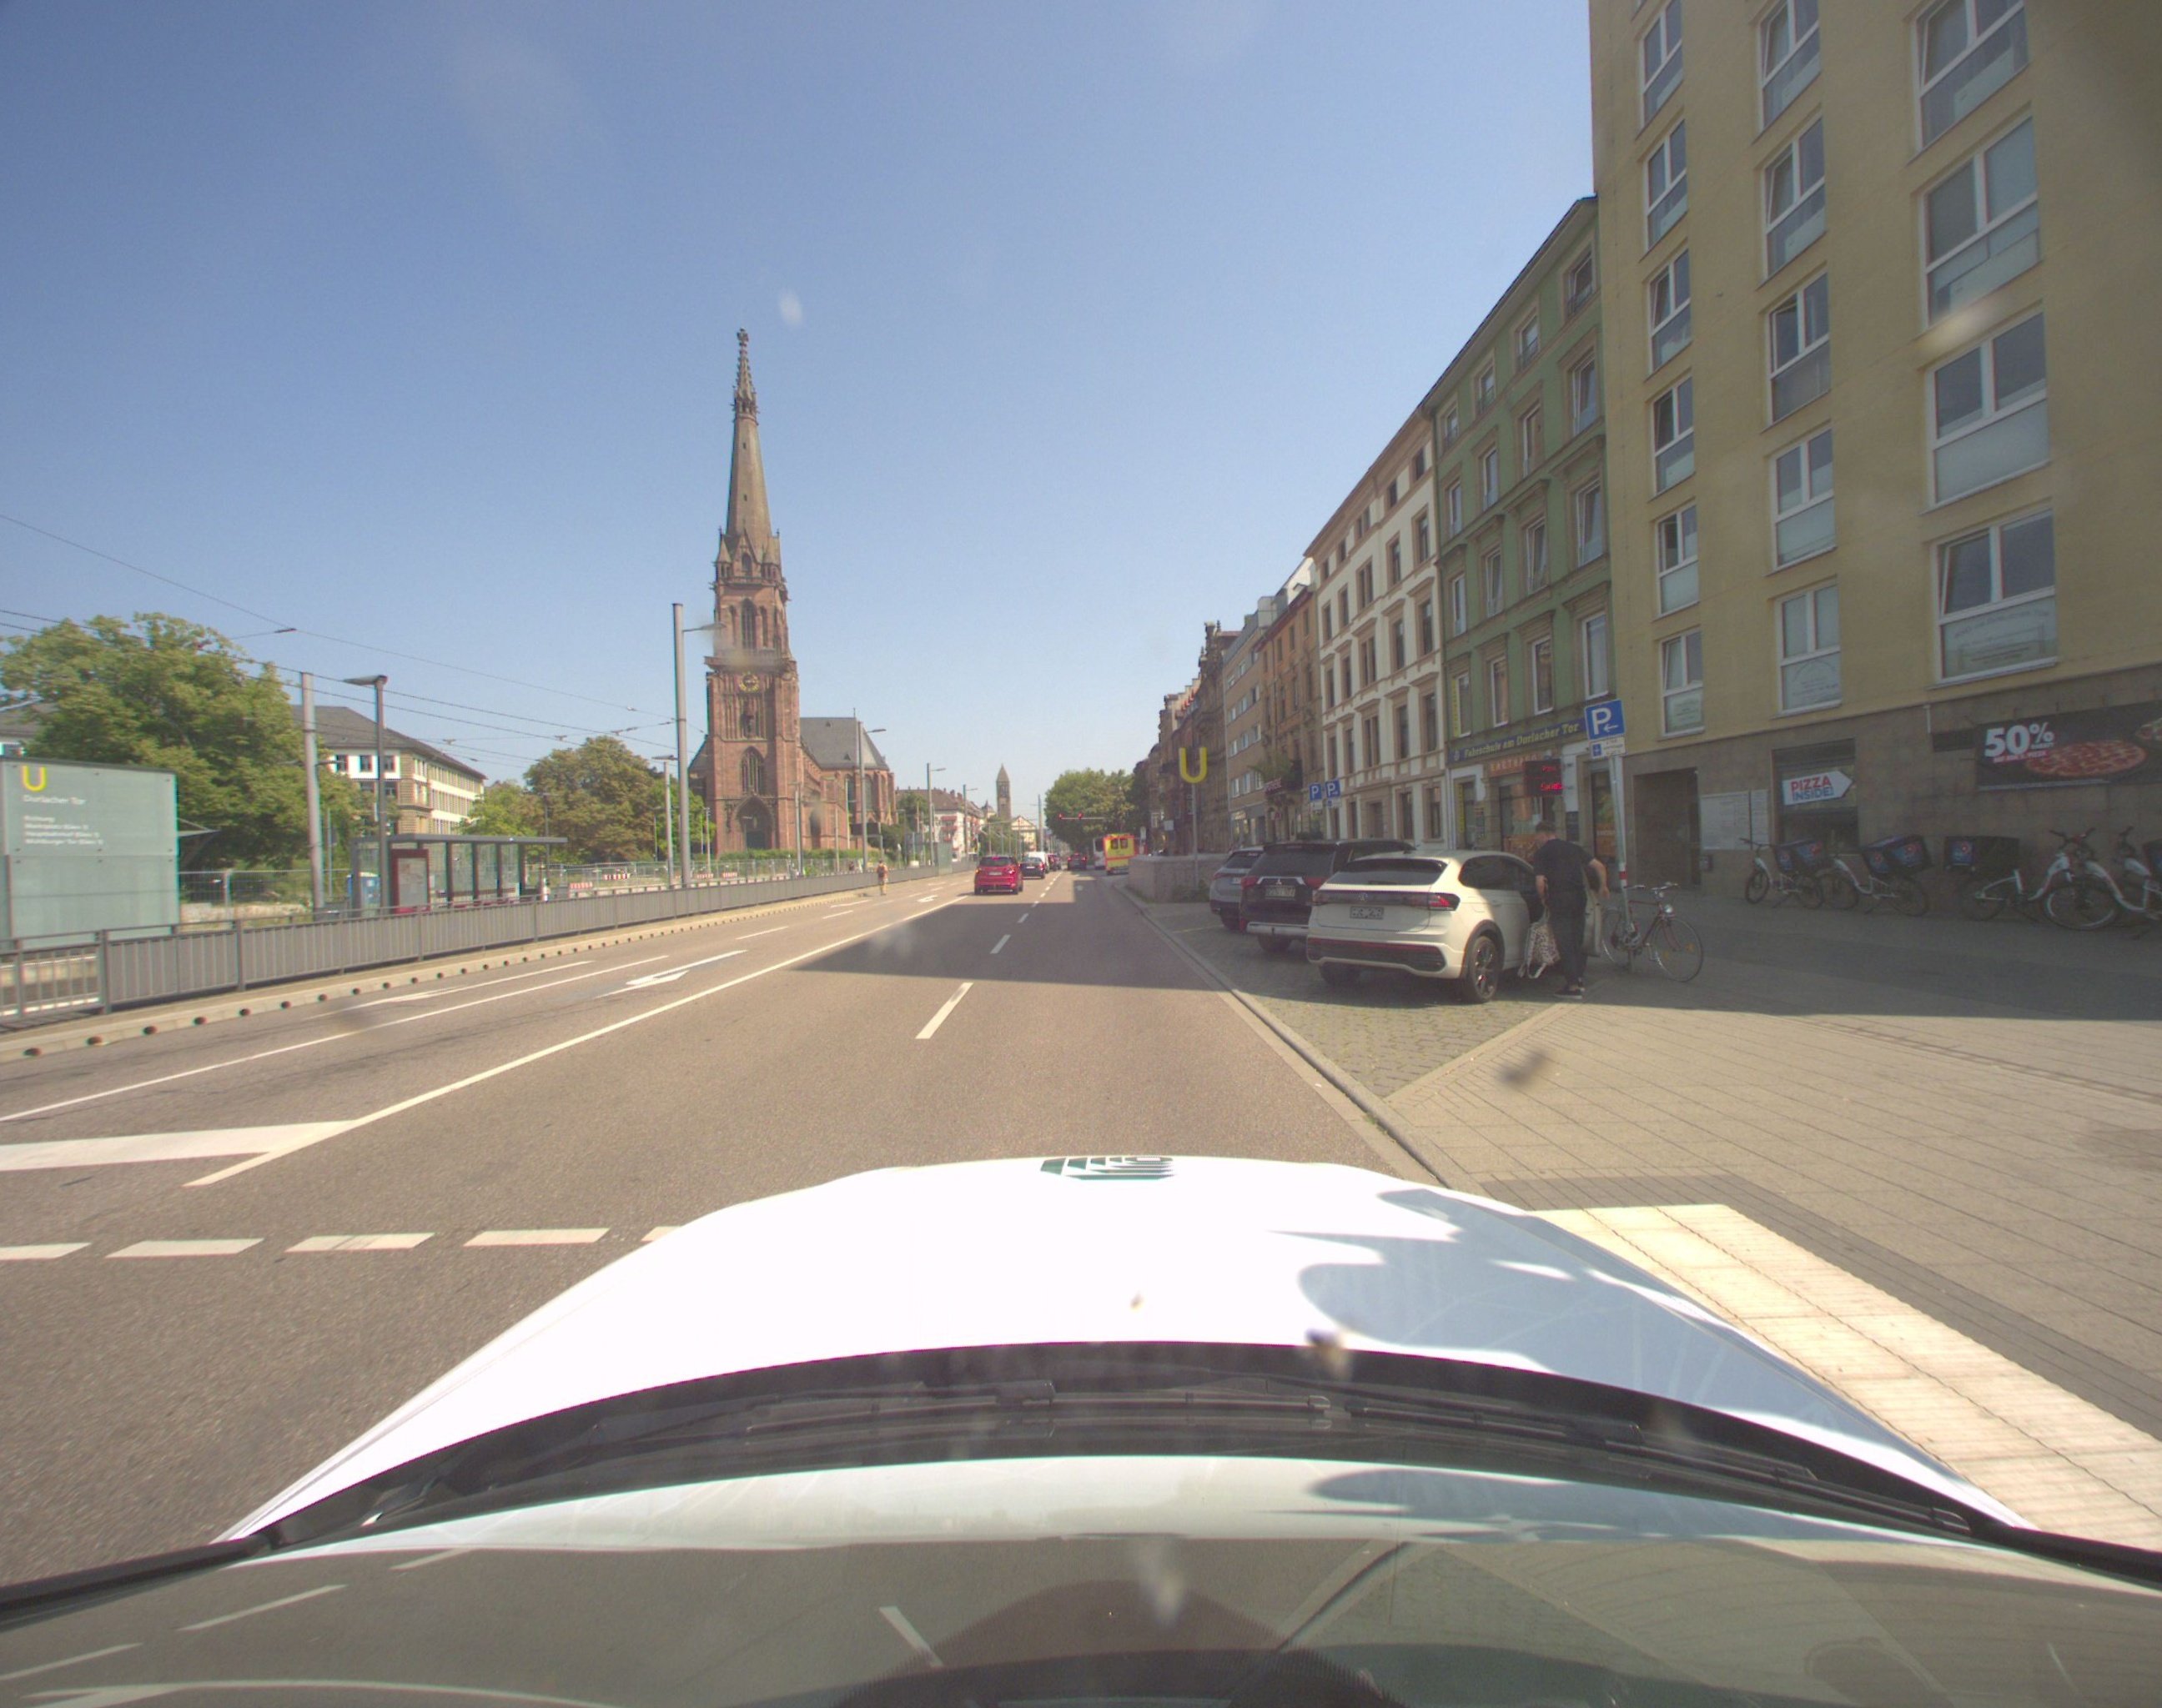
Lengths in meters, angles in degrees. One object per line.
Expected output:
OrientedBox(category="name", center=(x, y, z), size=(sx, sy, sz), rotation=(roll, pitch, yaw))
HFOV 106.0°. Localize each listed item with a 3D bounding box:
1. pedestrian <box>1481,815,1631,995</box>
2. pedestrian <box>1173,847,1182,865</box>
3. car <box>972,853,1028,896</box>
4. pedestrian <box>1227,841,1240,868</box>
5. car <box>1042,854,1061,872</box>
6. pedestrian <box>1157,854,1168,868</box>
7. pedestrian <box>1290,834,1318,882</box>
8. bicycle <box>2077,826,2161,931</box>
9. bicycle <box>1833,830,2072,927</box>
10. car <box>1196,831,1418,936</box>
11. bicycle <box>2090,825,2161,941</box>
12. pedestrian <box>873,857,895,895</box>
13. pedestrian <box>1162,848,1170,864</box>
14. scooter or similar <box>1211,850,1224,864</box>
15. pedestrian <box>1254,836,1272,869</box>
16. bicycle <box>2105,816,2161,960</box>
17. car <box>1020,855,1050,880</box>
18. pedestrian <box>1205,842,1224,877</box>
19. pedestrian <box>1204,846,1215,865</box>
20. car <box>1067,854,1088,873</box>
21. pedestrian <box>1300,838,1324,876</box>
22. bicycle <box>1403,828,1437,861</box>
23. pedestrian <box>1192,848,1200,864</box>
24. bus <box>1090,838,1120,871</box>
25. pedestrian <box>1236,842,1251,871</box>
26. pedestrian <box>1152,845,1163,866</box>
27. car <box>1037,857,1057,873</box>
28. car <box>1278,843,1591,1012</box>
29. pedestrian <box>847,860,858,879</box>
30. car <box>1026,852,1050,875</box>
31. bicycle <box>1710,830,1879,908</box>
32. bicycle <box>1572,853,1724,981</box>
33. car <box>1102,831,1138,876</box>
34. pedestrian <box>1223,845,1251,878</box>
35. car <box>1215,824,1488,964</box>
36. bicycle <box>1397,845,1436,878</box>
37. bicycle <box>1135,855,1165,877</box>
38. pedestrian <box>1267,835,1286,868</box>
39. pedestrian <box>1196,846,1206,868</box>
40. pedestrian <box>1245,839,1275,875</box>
OrientedBox(category="pedestrian", center=(4.861, 0.478, 8.360), size=(1.040, 1.704, 0.896), rotation=(-1, 0, -27))
OrientedBox(category="pedestrian", center=(9.075, 0.202, 76.466), size=(0.694, 1.667, 0.603), rotation=(-2, 0, 1))
OrientedBox(category="car", center=(-3.298, 0.788, 33.934), size=(1.756, 1.618, 4.083), rotation=(-2, 0, 1))
OrientedBox(category="pedestrian", center=(9.959, 0.020, 53.343), size=(0.575, 1.750, 0.679), rotation=(-5, 0, -1))
OrientedBox(category="car", center=(-3.030, 0.916, 84.022), size=(1.785, 1.698, 3.997), rotation=(-2, -1, -2))
OrientedBox(category="pedestrian", center=(10.877, 0.897, 108.682), size=(1.245, 1.751, 1.526), rotation=(-2, 2, 0))
OrientedBox(category="pedestrian", center=(8.086, 0.136, 29.613), size=(0.668, 1.685, 0.943), rotation=(-3, 0, -1))
OrientedBox(category="bicycle", center=(13.060, 0.289, 9.557), size=(0.407, 1.238, 1.825), rotation=(-2, 0, -3))
OrientedBox(category="bicycle", center=(12.561, 0.314, 11.905), size=(0.935, 1.238, 2.424), rotation=(-2, 0, 3))
OrientedBox(category="car", center=(4.589, 0.477, 16.138), size=(4.692, 1.713, 2.019), rotation=(-3, 0, -43))
OrientedBox(category="bicycle", center=(12.391, 0.305, 9.293), size=(0.584, 1.238, 1.555), rotation=(-2, 0, 32))
OrientedBox(category="pedestrian", center=(-9.493, 1.061, 39.207), size=(0.759, 1.752, 1.068), rotation=(-2, -1, -2))
OrientedBox(category="pedestrian", center=(8.722, 0.199, 83.745), size=(0.694, 1.667, 1.065), rotation=(-2, 0, 1))
OrientedBox(category="scooter or similar", center=(11.762, 0.240, 70.399), size=(0.514, 1.196, 1.295), rotation=(-2, 0, -20))
OrientedBox(category="pedestrian", center=(9.903, -0.083, 44.356), size=(0.682, 1.773, 1.017), rotation=(-2, 1, -1))
OrientedBox(category="bicycle", center=(12.184, 0.289, 9.045), size=(3.380, 1.404, 0.894), rotation=(-3, 0, -37))
OrientedBox(category="car", center=(-2.929, 0.829, 52.226), size=(1.785, 1.431, 3.997), rotation=(-2, 0, -2))
OrientedBox(category="pedestrian", center=(6.824, 0.262, 41.692), size=(0.845, 1.728, 0.973), rotation=(-3, 2, 6))
OrientedBox(category="pedestrian", center=(10.199, 0.132, 64.565), size=(0.641, 1.493, 0.789), rotation=(-2, 0, -1))
OrientedBox(category="car", center=(-0.366, 0.892, 77.740), size=(1.785, 1.677, 3.997), rotation=(-2, -1, -2))
OrientedBox(category="pedestrian", center=(11.463, 0.144, 40.452), size=(0.841, 1.846, 0.684), rotation=(-4, 0, -10))
OrientedBox(category="bicycle", center=(12.624, -0.343, 30.396), size=(0.457, 1.184, 1.847), rotation=(-2, 0, 0))
OrientedBox(category="pedestrian", center=(12.045, 0.230, 84.981), size=(0.622, 1.593, 0.694), rotation=(-2, 0, -6))
OrientedBox(category="bus", center=(2.323, 0.041, 82.159), size=(2.526, 3.032, 12.432), rotation=(-2, 0, 0))
OrientedBox(category="pedestrian", center=(10.634, 0.165, 53.310), size=(0.598, 1.795, 0.879), rotation=(-5, 0, -1))
OrientedBox(category="pedestrian", center=(6.439, 0.119, 68.559), size=(0.690, 1.667, 0.606), rotation=(-2, 0, 25))
OrientedBox(category="car", center=(-3.161, 1.032, 76.068), size=(1.785, 1.472, 3.997), rotation=(-2, -1, -2))
OrientedBox(category="car", center=(4.086, 0.635, 9.162), size=(3.805, 1.500, 1.786), rotation=(-1, 1, -41))
OrientedBox(category="pedestrian", center=(-21.854, 1.447, 77.940), size=(0.826, 1.752, 0.720), rotation=(-2, -1, 0))
OrientedBox(category="car", center=(-3.560, 0.792, 68.191), size=(1.785, 1.780, 3.997), rotation=(-2, -1, -2))
OrientedBox(category="bicycle", center=(12.615, 0.239, 14.543), size=(0.935, 1.238, 2.424), rotation=(-2, 0, 3))
OrientedBox(category="bicycle", center=(6.424, 0.667, 9.354), size=(0.471, 1.296, 1.792), rotation=(-3, -1, 2))
OrientedBox(category="car", center=(2.778, -0.037, 57.527), size=(2.289, 2.888, 5.604), rotation=(-3, 0, 3))
OrientedBox(category="pedestrian", center=(7.612, 0.357, 39.833), size=(0.856, 1.582, 0.960), rotation=(-2, -1, -34))
OrientedBox(category="car", center=(4.223, 0.468, 12.311), size=(4.417, 1.687, 1.962), rotation=(-3, 0, -42))
OrientedBox(category="bicycle", center=(12.653, 0.257, 30.788), size=(0.478, 1.146, 2.472), rotation=(-2, 2, 2))
OrientedBox(category="bicycle", center=(3.983, 0.680, 46.936), size=(1.666, 1.215, 0.645), rotation=(-2, 0, 5))
OrientedBox(category="pedestrian", center=(10.639, -0.138, 44.329), size=(0.682, 1.773, 1.017), rotation=(-2, 1, -1))
OrientedBox(category="pedestrian", center=(9.502, 0.249, 64.531), size=(0.641, 1.685, 0.789), rotation=(-2, 0, -1))
OrientedBox(category="pedestrian", center=(8.158, 0.128, 37.061), size=(0.856, 1.582, 0.960), rotation=(-2, -1, -34))
